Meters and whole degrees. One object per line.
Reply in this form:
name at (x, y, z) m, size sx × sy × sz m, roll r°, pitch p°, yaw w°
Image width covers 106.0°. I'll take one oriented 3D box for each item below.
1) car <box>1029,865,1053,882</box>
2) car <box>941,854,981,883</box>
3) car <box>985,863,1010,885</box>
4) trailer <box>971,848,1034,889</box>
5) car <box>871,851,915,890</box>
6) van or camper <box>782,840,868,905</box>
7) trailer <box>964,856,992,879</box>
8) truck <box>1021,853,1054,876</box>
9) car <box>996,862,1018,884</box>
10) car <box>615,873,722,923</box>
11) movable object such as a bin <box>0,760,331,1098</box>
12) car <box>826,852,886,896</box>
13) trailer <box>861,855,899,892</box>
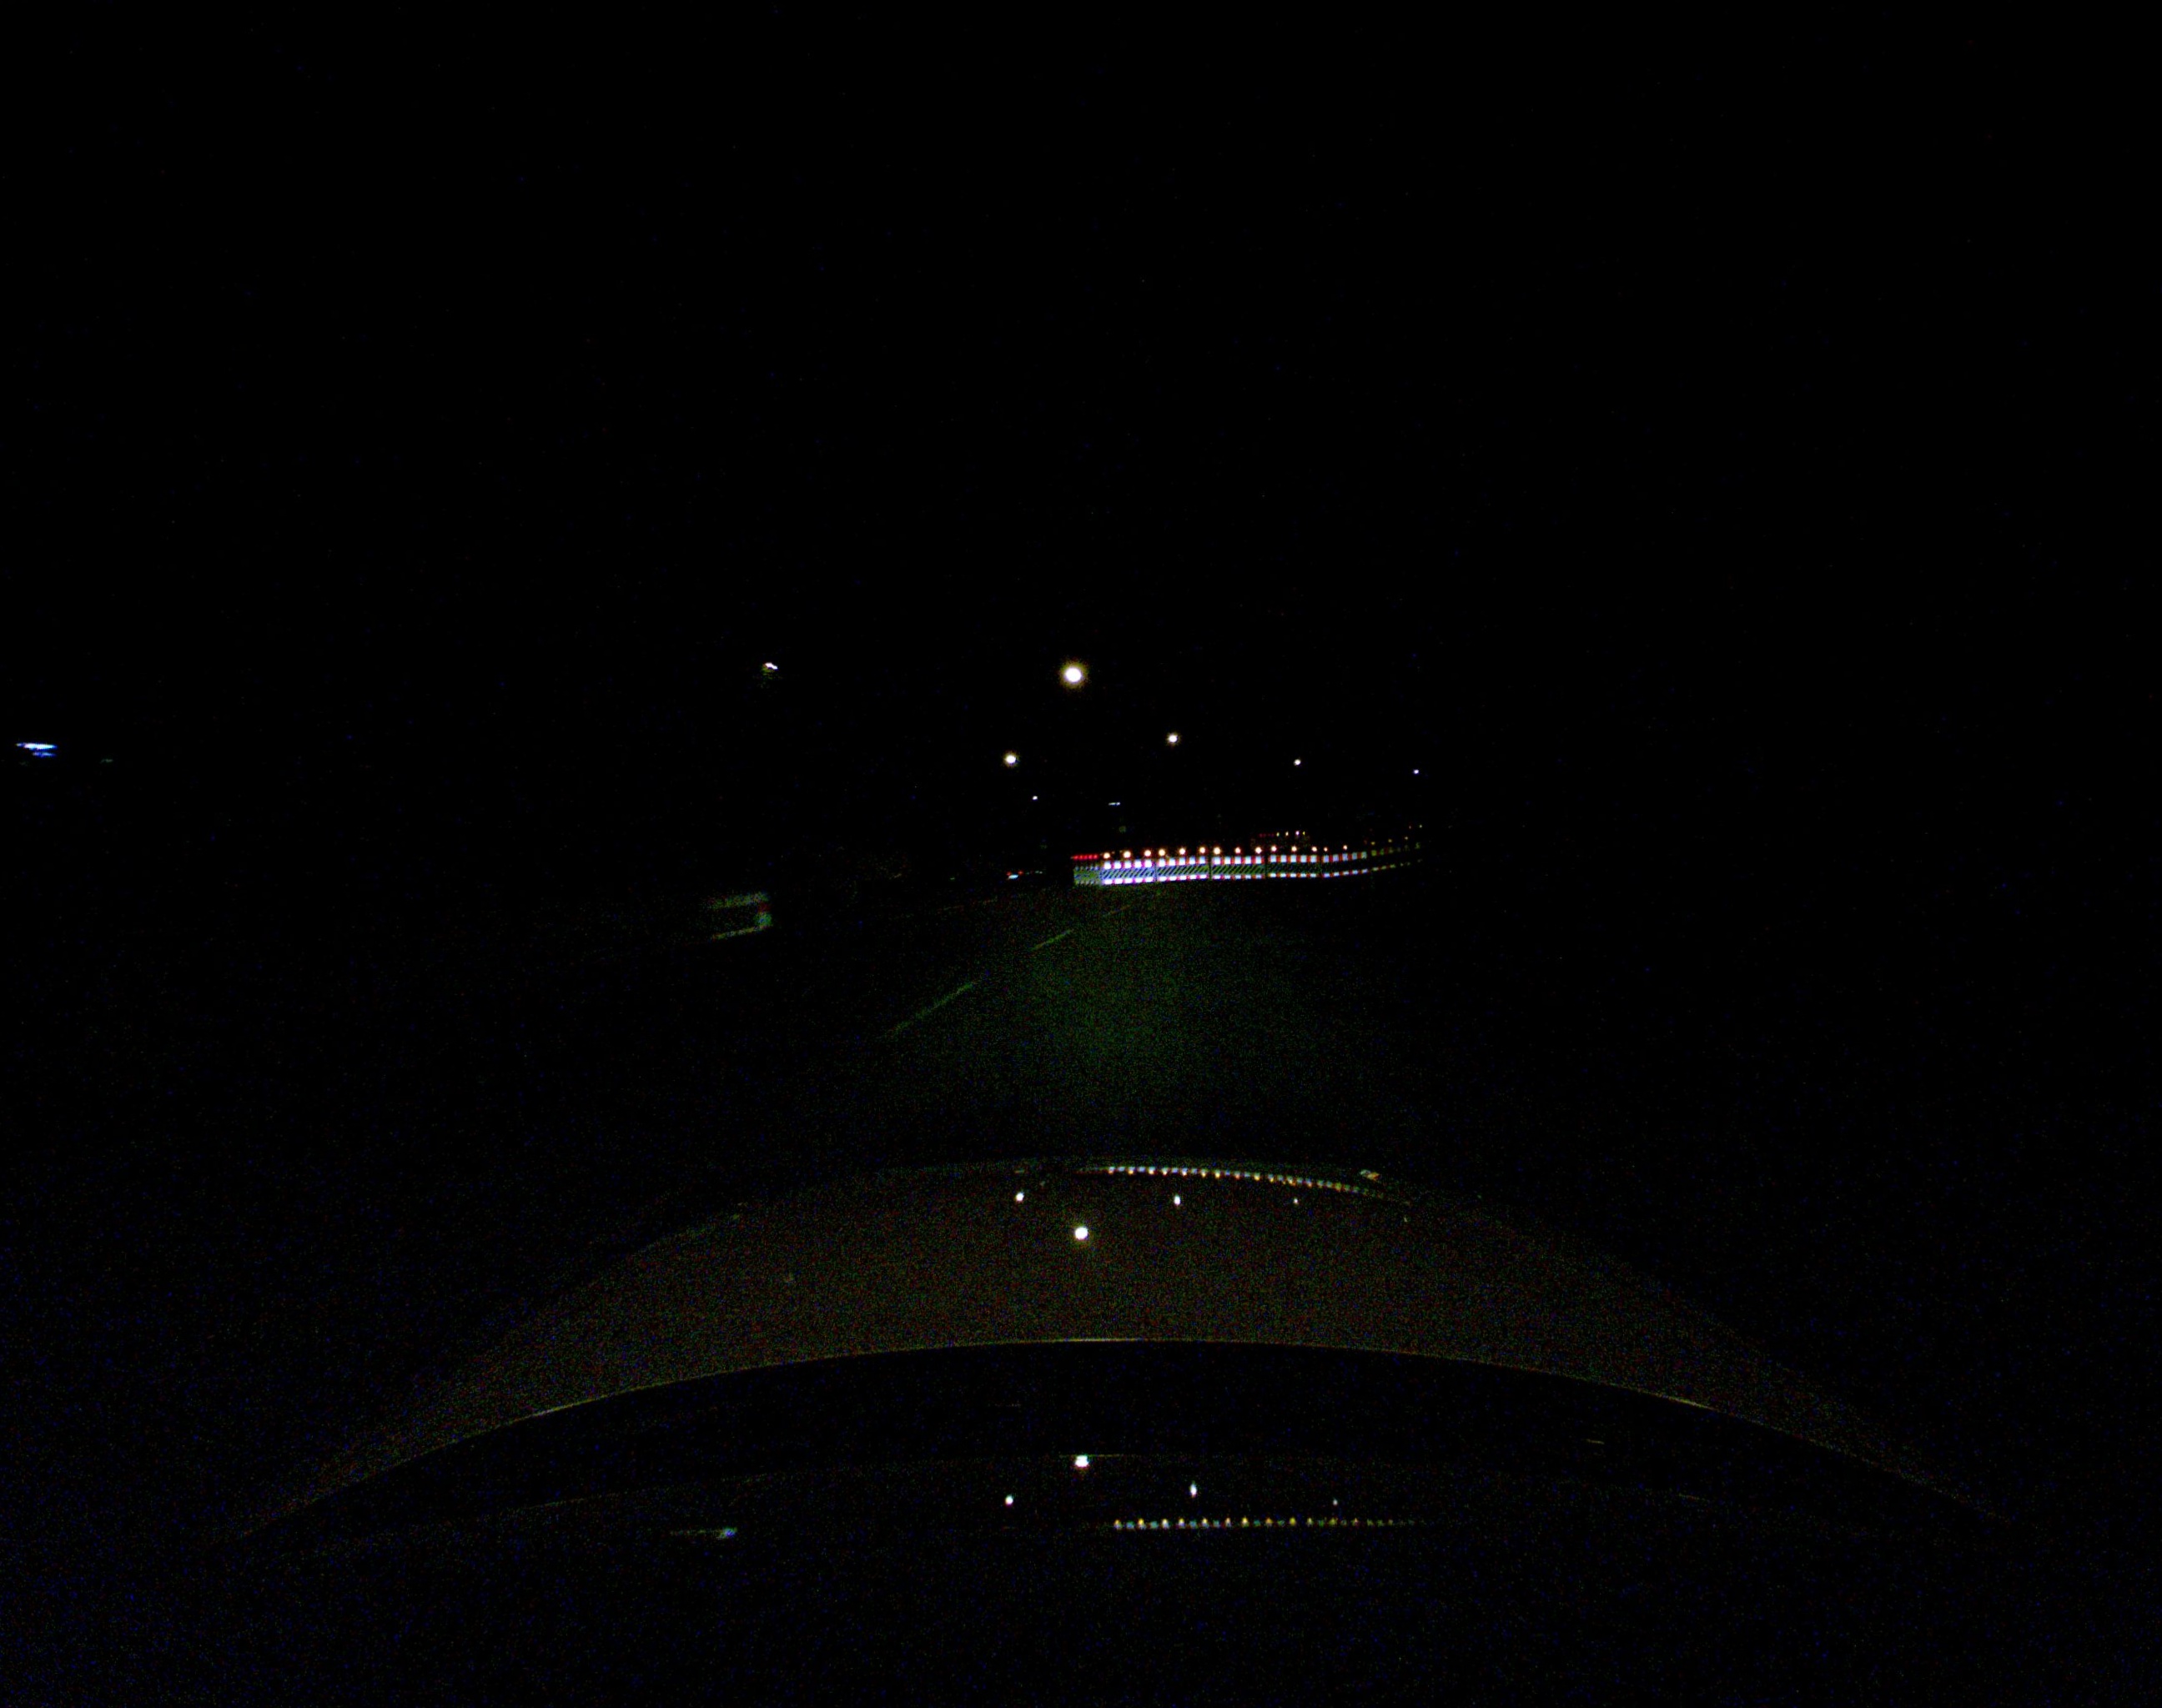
car at (-4.569, 2.177, 92.577) m, size 1.709 × 1.821 × 4.012 m, roll -2°, pitch -1°, yaw 11°
car at (-14.488, 1.643, 98.728) m, size 2.504 × 3.171 × 7.157 m, roll -5°, pitch 0°, yaw 10°
car at (-6.561, 1.568, 64.153) m, size 1.717 × 1.661 × 3.994 m, roll -2°, pitch -1°, yaw -3°
trailer at (-4.857, 0.916, 49.361) m, size 1.570 × 2.160 × 5.169 m, roll -4°, pitch -1°, yaw -31°
car at (-15.693, 1.375, 68.439) m, size 2.516 × 2.927 × 7.187 m, roll -4°, pitch 0°, yaw -5°
van or camper at (-14.034, 0.967, 45.206) m, size 2.513 × 3.094 × 7.437 m, roll -4°, pitch 0°, yaw -3°
trailer at (-13.273, 1.725, 105.250) m, size 1.981 × 2.813 × 4.717 m, roll -3°, pitch 0°, yaw 11°
truck at (-7.063, 1.642, 133.685) m, size 1.977 × 3.404 × 9.024 m, roll -2°, pitch 0°, yaw 20°
car at (-6.500, 1.705, 71.794) m, size 1.717 × 1.821 × 3.994 m, roll -2°, pitch -1°, yaw -3°
car at (-27.489, 2.874, 54.648) m, size 1.977 × 2.841 × 6.714 m, roll -2°, pitch 0°, yaw 20°
movable object such as a bin at (-9.853, 0.661, 8.112) m, size 1.571 × 2.733 × 3.687 m, roll -5°, pitch 1°, yaw -11°
car at (-14.945, 1.308, 54.572) m, size 2.515 × 2.606 × 7.077 m, roll -4°, pitch 0°, yaw -5°
trailer at (-15.136, 1.451, 61.472) m, size 1.990 × 2.527 × 3.563 m, roll -5°, pitch 0°, yaw -4°
